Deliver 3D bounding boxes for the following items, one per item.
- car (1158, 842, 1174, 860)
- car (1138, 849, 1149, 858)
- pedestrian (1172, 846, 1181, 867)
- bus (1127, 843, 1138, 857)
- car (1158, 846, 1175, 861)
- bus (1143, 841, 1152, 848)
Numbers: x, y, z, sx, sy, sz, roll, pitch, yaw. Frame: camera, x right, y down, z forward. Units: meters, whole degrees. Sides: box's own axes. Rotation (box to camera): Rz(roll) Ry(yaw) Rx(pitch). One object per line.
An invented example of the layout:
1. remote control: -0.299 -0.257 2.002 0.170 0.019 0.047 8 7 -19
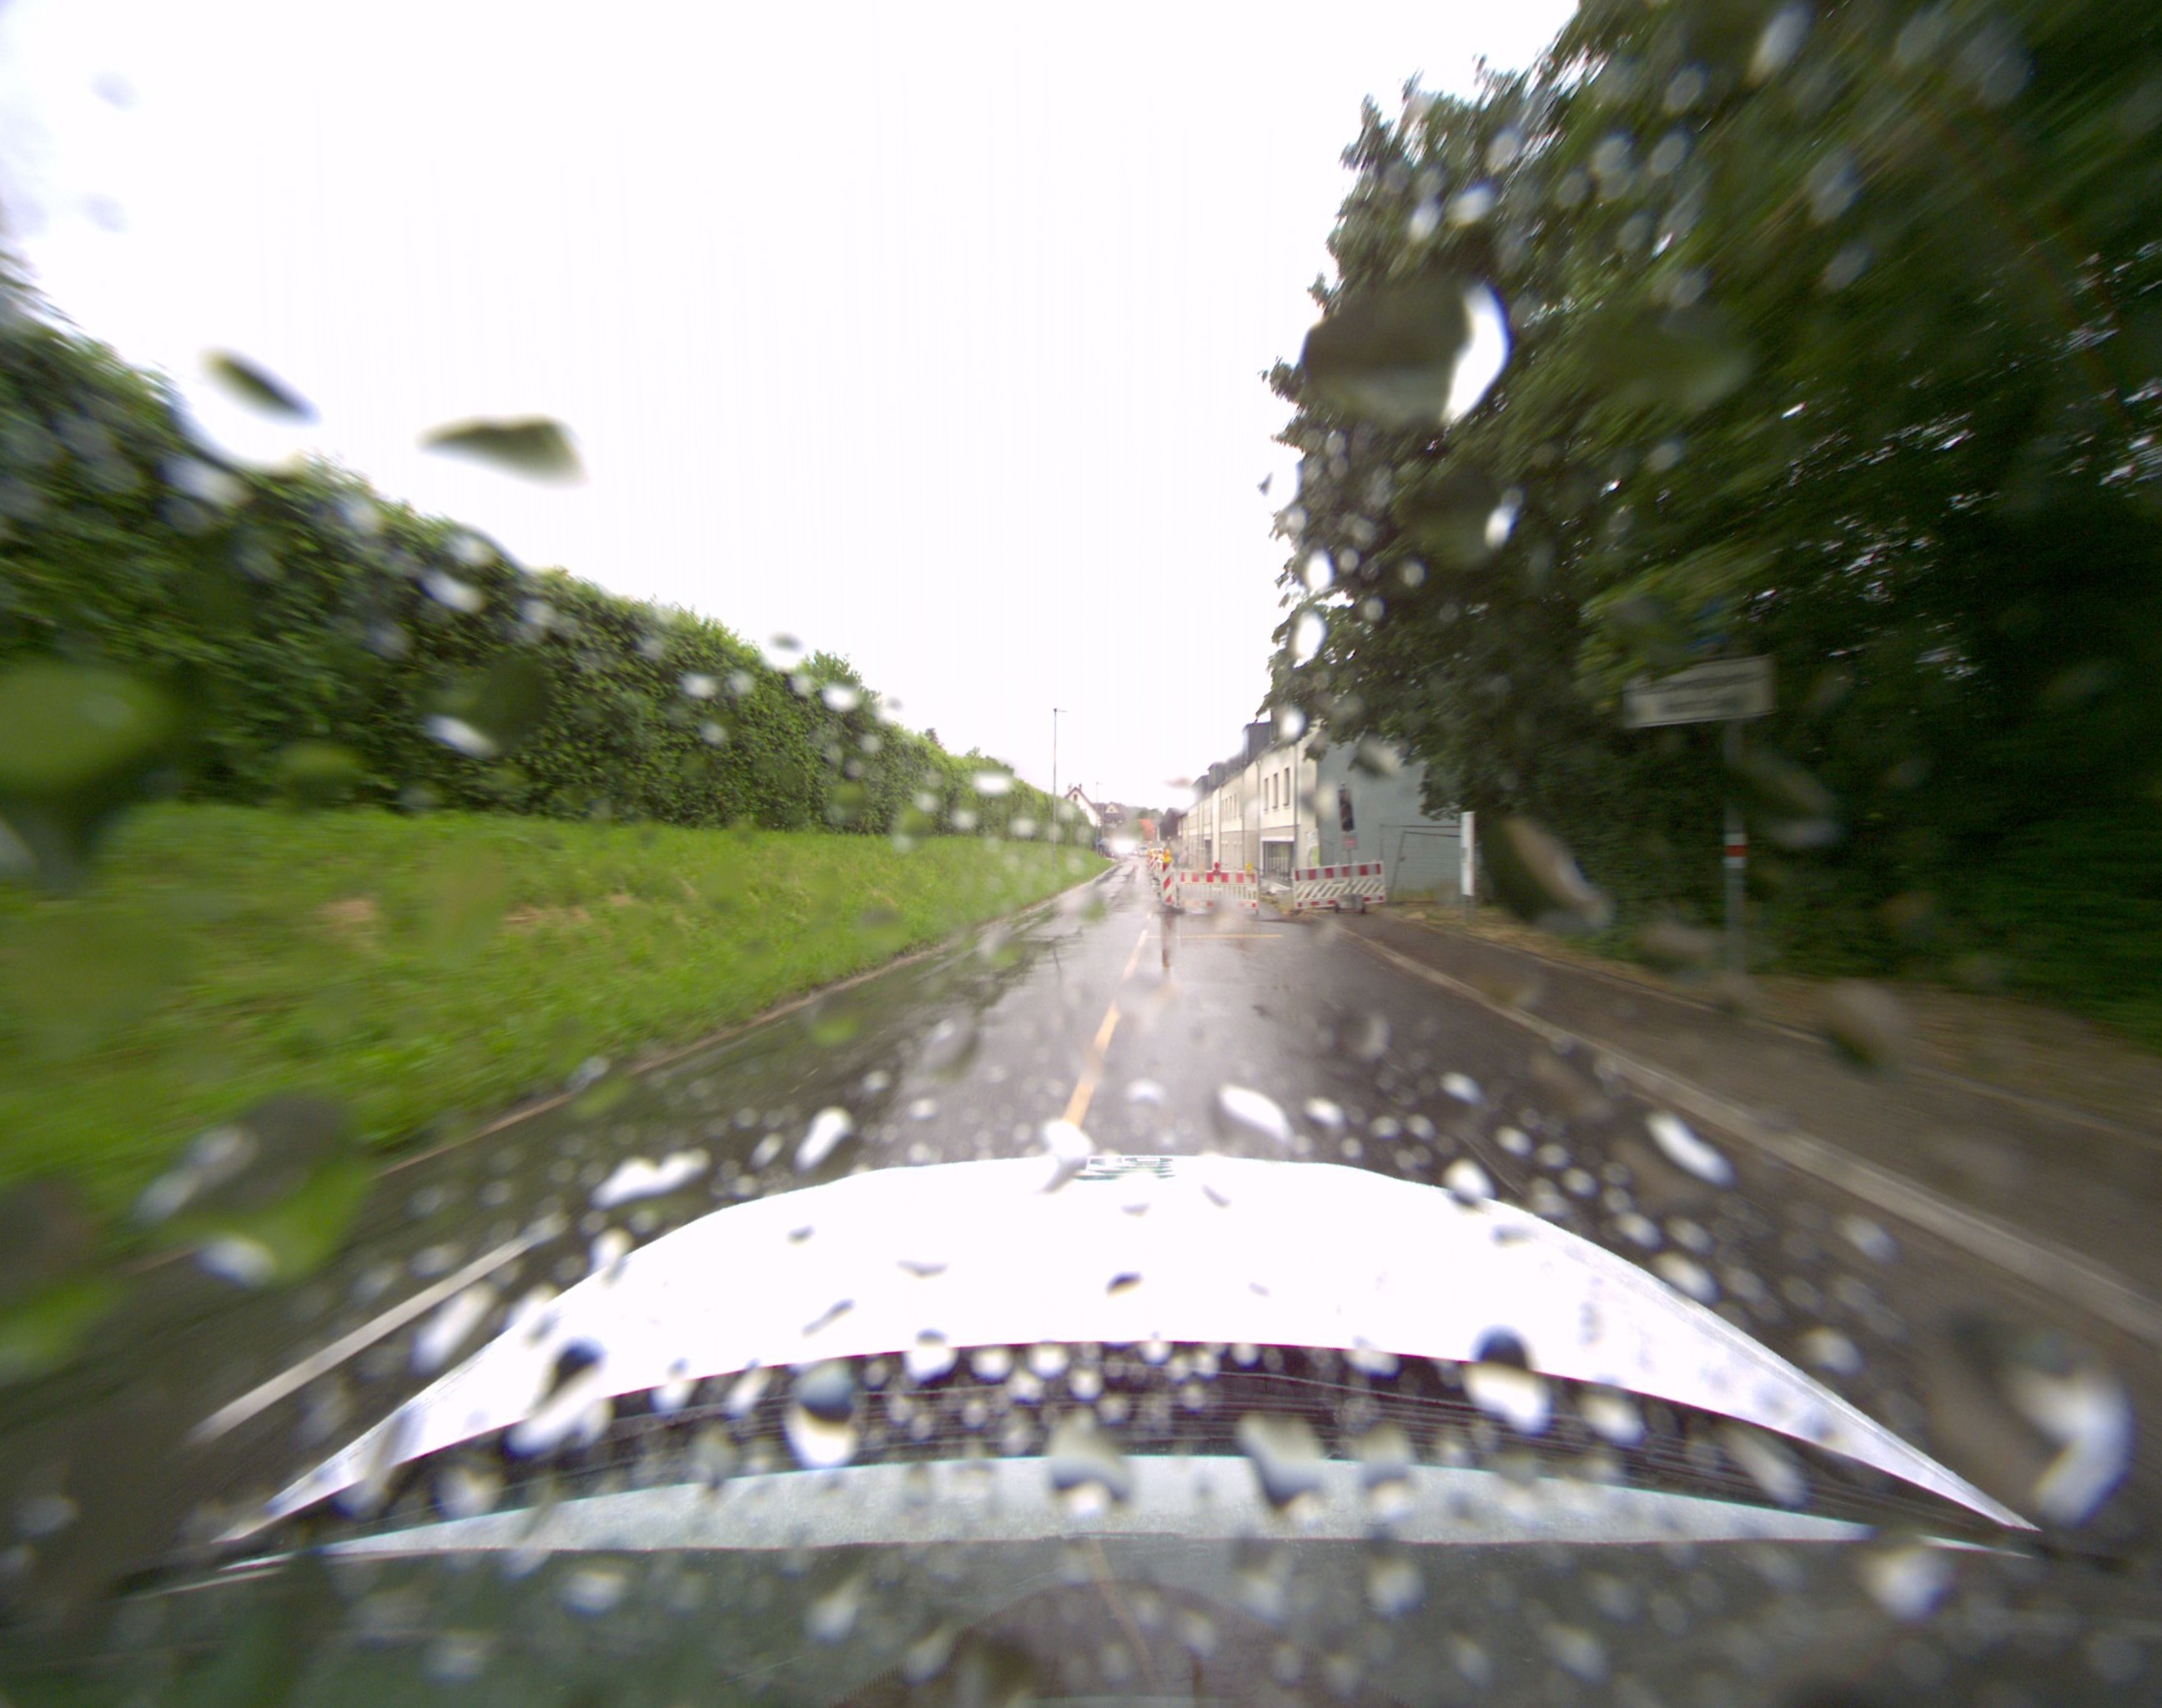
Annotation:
1. car: 12.059 -0.450 115.666 1.984 2.375 4.100 -3 0 4
2. car: 11.532 -0.098 150.552 1.810 1.642 4.100 -3 0 4
3. pedestrian: 8.412 0.212 71.847 0.662 1.755 0.813 -3 0 5
4. bus: 11.692 -0.866 184.370 2.231 3.102 7.038 -3 0 4
5. car: 10.311 -0.062 98.176 1.895 1.772 3.892 -3 0 4
6. bus: 14.222 -1.913 173.578 1.785 1.409 4.007 1 0 7
